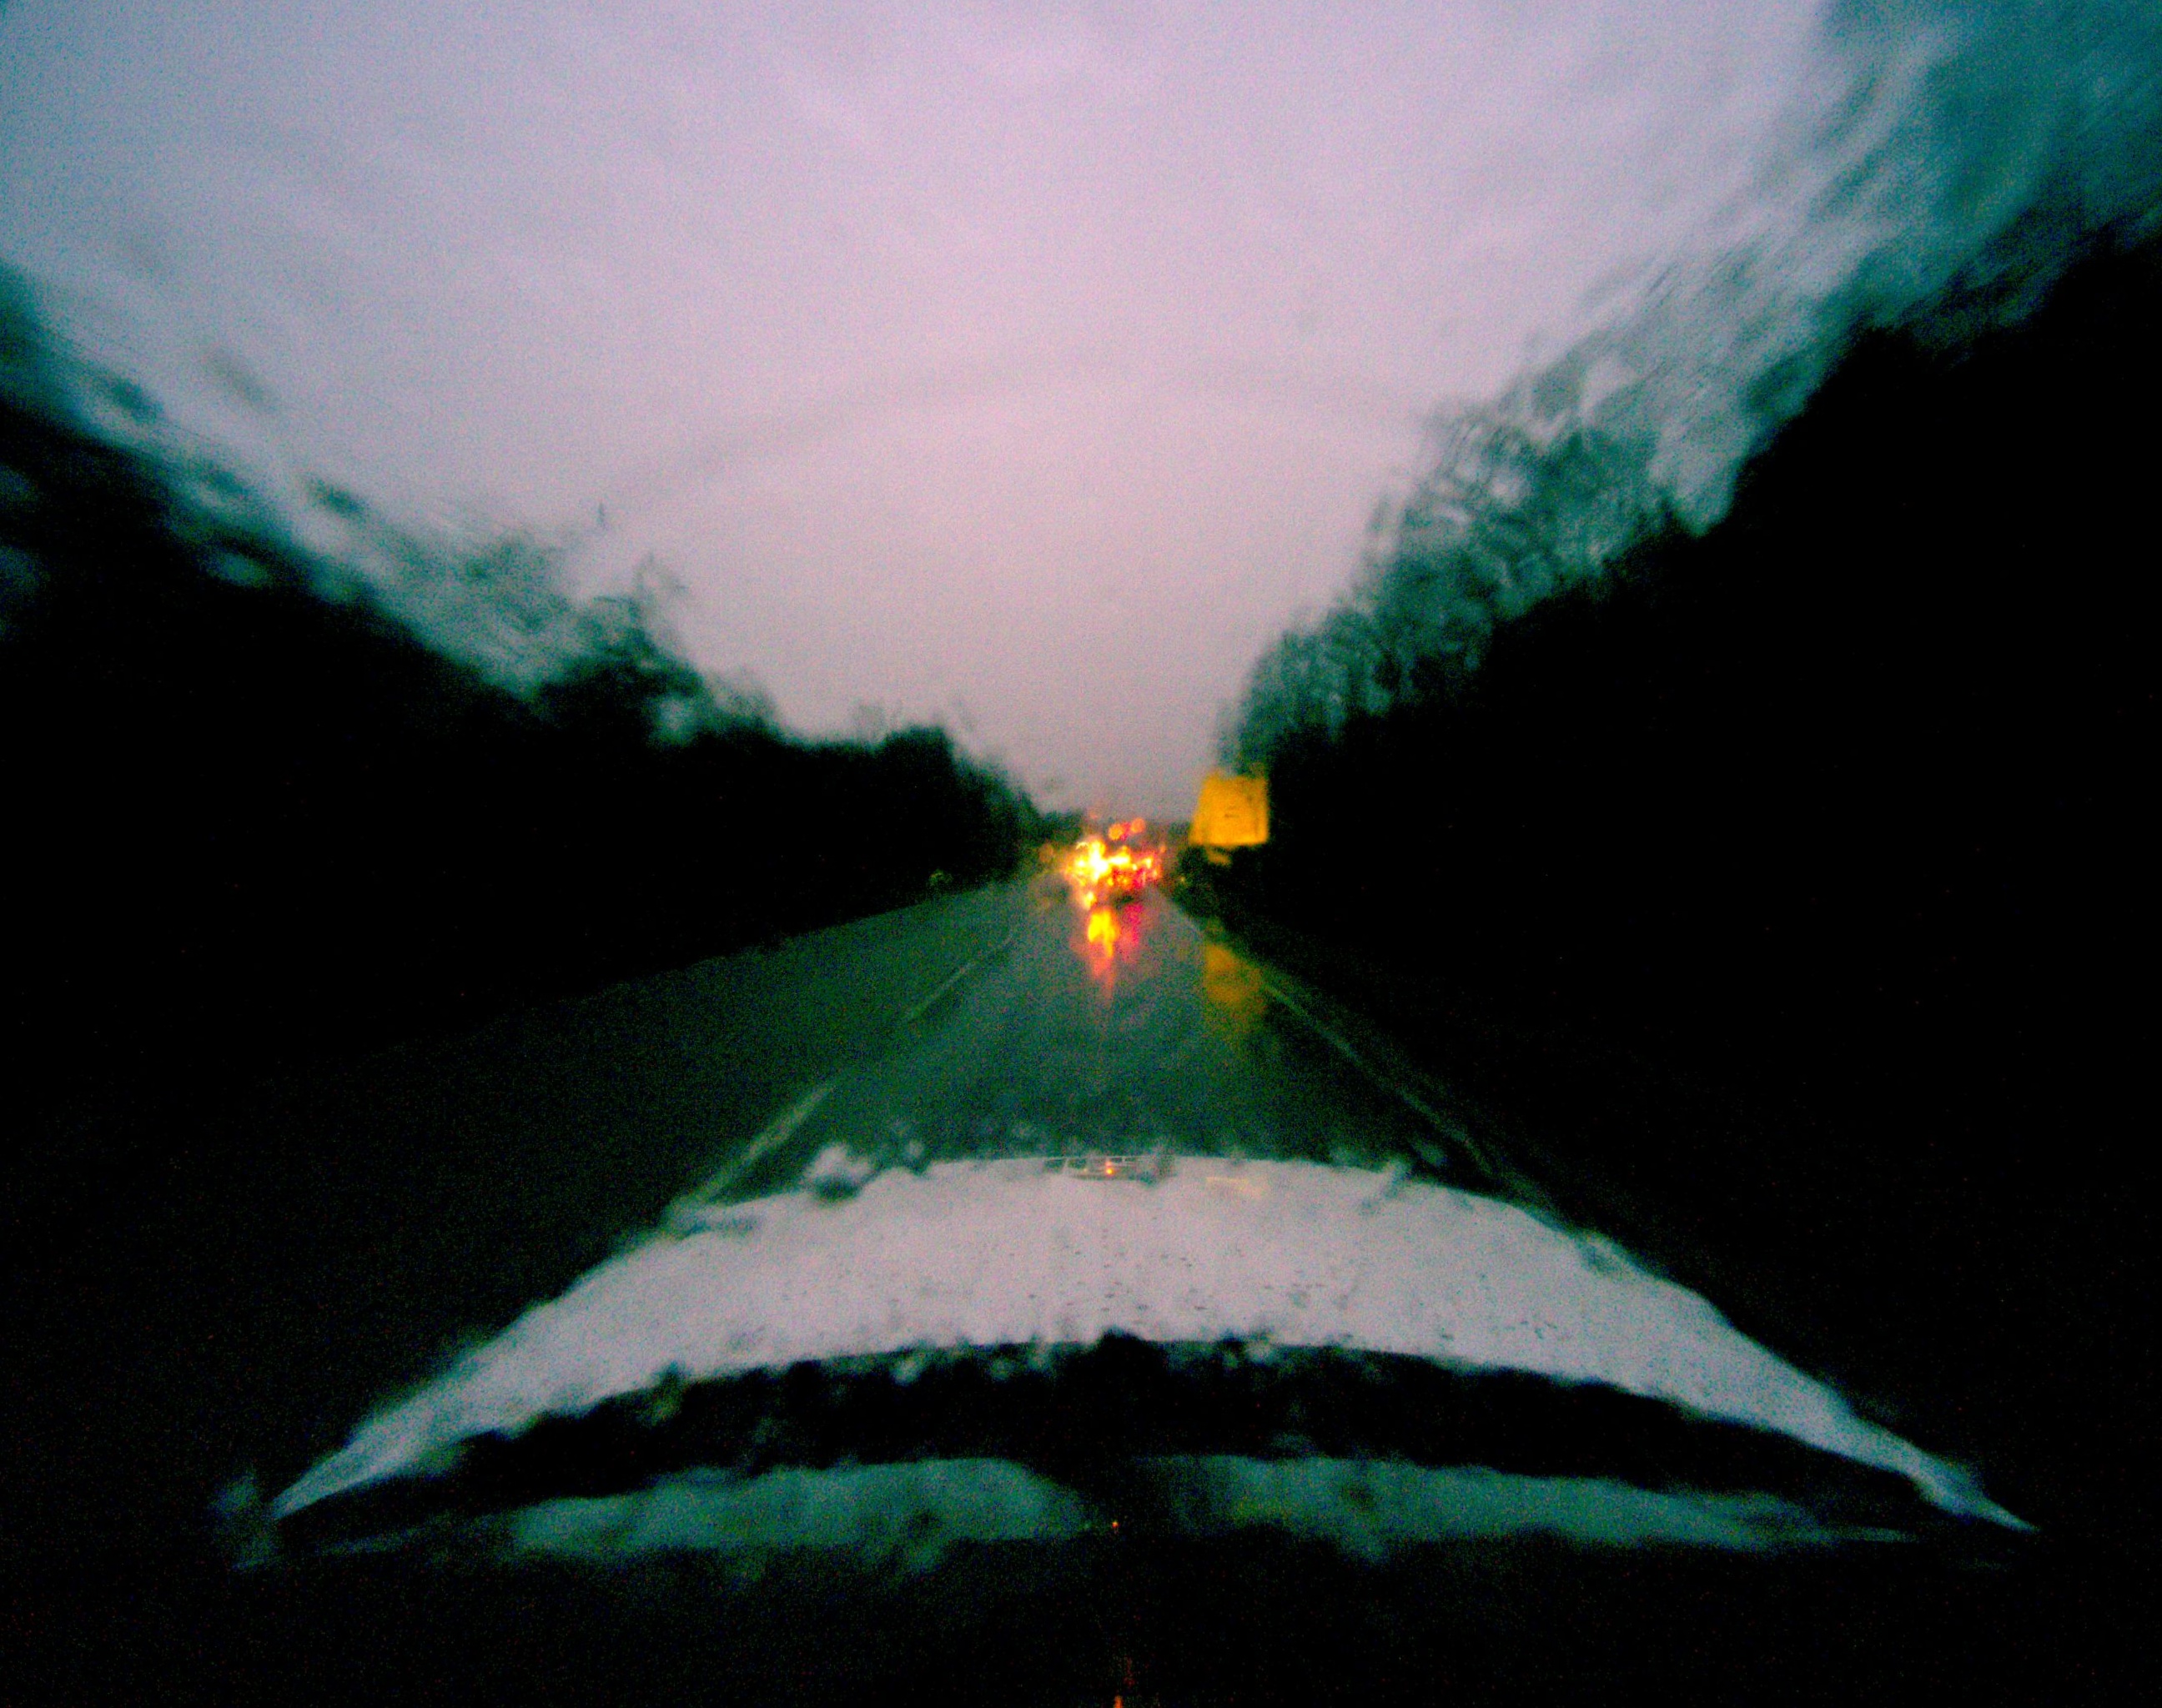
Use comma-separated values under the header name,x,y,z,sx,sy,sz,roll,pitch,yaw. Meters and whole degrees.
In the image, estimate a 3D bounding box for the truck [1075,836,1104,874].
name,x,y,z,sx,sy,sz,roll,pitch,yaw
truck,1.003,0.116,94.842,2.786,4.126,7.208,-1,0,4

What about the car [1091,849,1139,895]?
name,x,y,z,sx,sy,sz,roll,pitch,yaw
car,1.327,0.655,31.847,1.721,1.643,4.002,-1,0,2
